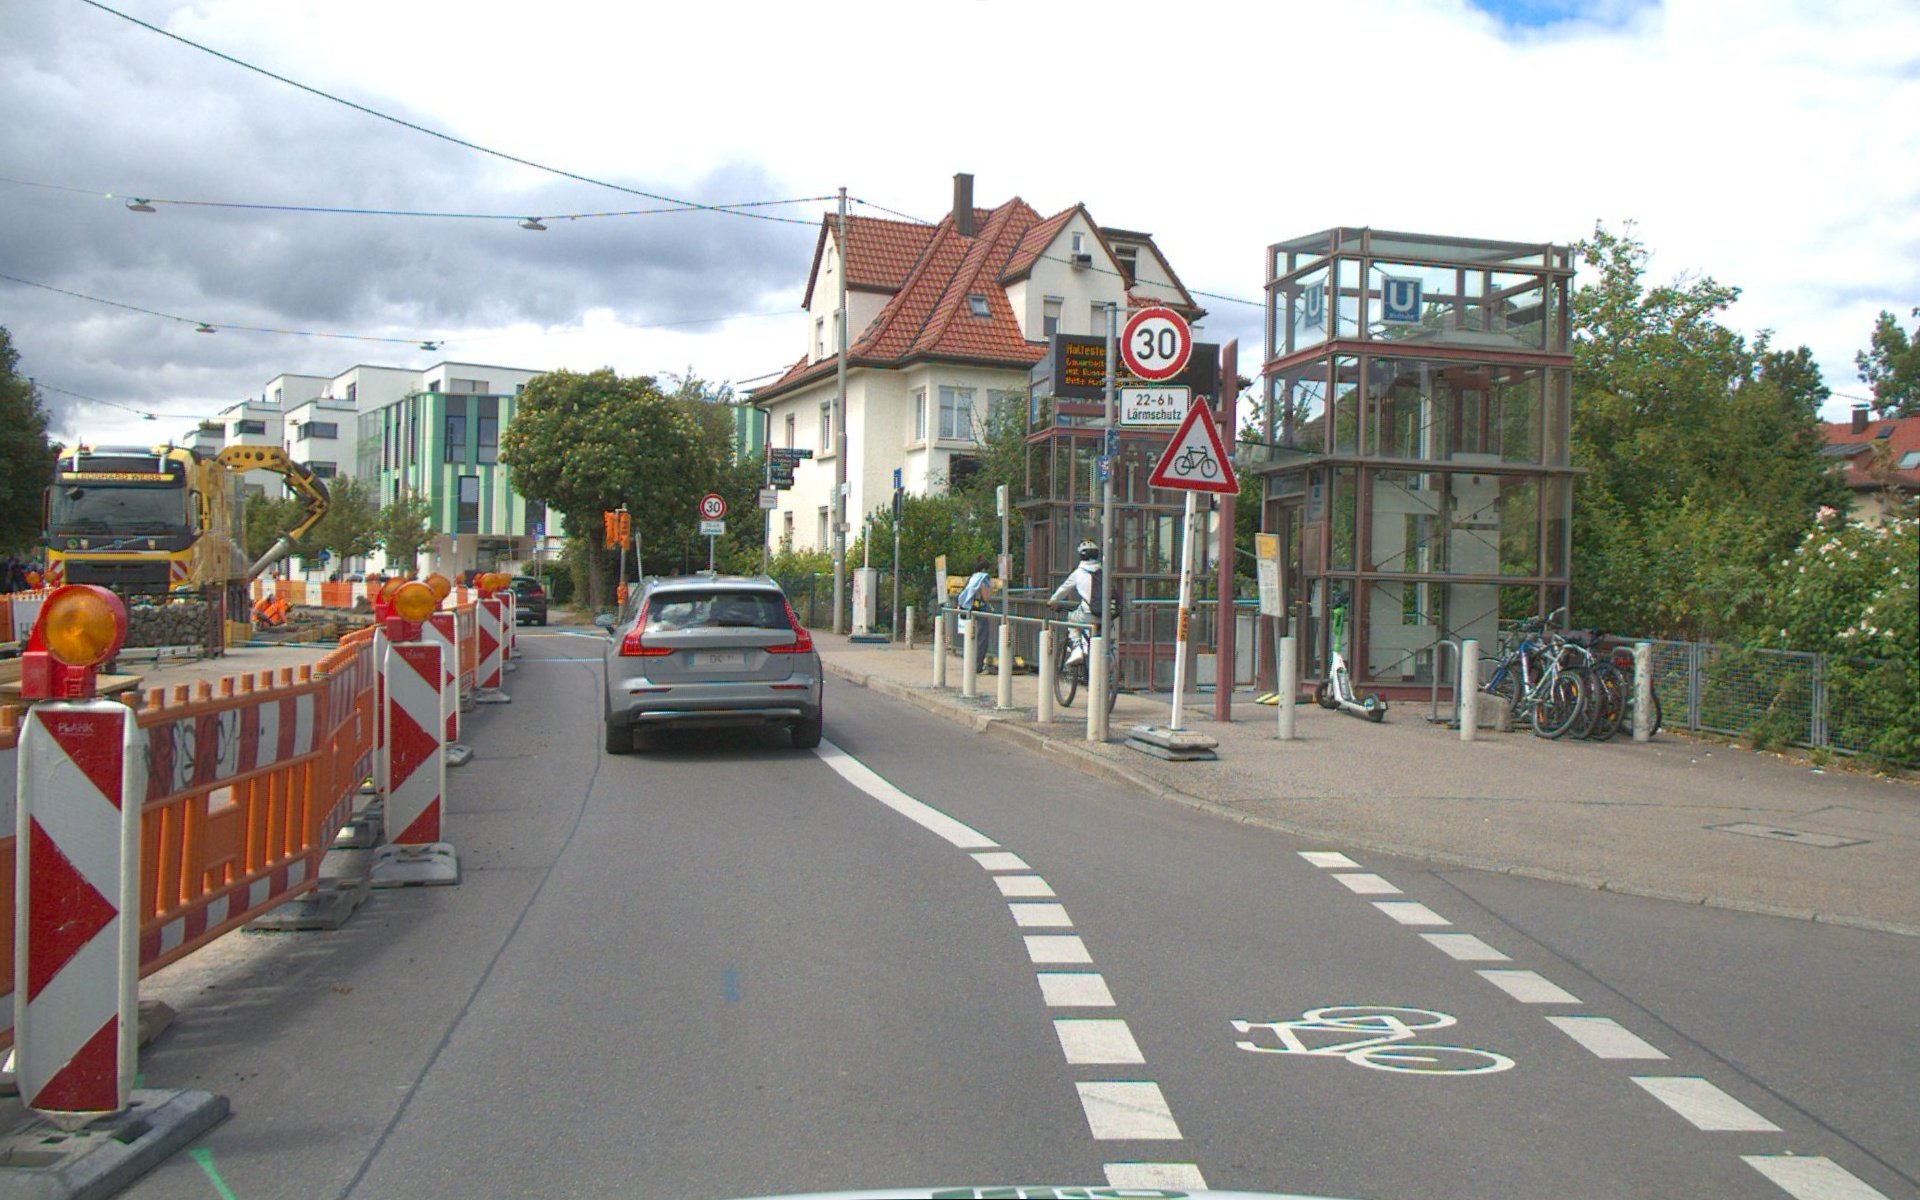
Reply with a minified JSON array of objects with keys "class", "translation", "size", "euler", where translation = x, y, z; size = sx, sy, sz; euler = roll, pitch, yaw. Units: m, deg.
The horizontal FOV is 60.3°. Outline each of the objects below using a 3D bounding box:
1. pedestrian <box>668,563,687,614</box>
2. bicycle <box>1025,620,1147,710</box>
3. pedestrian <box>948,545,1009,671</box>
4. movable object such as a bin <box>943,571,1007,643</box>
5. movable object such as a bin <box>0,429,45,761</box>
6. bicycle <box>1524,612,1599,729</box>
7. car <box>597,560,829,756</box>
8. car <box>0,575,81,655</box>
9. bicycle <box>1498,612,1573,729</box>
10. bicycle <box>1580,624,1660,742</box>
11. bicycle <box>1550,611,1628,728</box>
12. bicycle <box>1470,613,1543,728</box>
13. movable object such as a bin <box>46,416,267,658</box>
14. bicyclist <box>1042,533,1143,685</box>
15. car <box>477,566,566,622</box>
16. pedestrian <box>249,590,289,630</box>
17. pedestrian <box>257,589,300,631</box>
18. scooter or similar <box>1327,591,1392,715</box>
[{"class":"pedestrian","translation":[-8.677,-0.356,50.777],"size":[0.511,1.566,0.634],"euler":[0,1,-15]},{"class":"bicycle","translation":[1.230,0.629,16.557],"size":[0.624,0.766,2.055],"euler":[1,1,-13]},{"class":"pedestrian","translation":[0.247,0.107,22.125],"size":[0.588,1.610,0.400],"euler":[6,-3,-14]},{"class":"movable object such as a bin","translation":[0.310,0.143,35.631],"size":[1.244,1.496,1.003],"euler":[1,0,-7]},{"class":"movable object such as a bin","translation":[-8.564,-0.001,10.734],"size":[1.954,2.671,6.518],"euler":[0,1,-3]},{"class":"bicycle","translation":[5.616,0.641,15.483],"size":[0.211,1.031,1.168],"euler":[0,1,-3]},{"class":"car","translation":[-2.161,0.424,15.093],"size":[1.819,1.539,3.995],"euler":[0,1,-6]},{"class":"car","translation":[-19.894,0.265,34.191],"size":[1.821,1.539,4.429],"euler":[0,1,-11]},{"class":"bicycle","translation":[5.358,0.639,15.439],"size":[0.211,1.018,1.206],"euler":[0,1,-3]},{"class":"bicycle","translation":[6.169,0.758,15.500],"size":[0.211,1.026,1.189],"euler":[0,1,-3]},{"class":"bicycle","translation":[5.877,0.632,15.484],"size":[0.211,1.026,1.189],"euler":[0,1,-3]},{"class":"bicycle","translation":[5.083,0.634,15.426],"size":[0.211,1.006,1.203],"euler":[0,1,-3]},{"class":"movable object such as a bin","translation":[-16.600,-1.200,34.958],"size":[2.550,4.295,11.067],"euler":[0,1,-17]},{"class":"bicyclist","translation":[1.295,0.073,16.364],"size":[0.645,1.440,1.175],"euler":[1,1,-13]},{"class":"car","translation":[-12.859,-0.188,48.310],"size":[1.831,1.539,3.969],"euler":[2,0,-25]},{"class":"pedestrian","translation":[-17.443,0.249,41.750],"size":[0.627,1.008,0.794],"euler":[0,1,6]},{"class":"pedestrian","translation":[-16.878,0.245,40.977],"size":[0.775,1.008,0.811],"euler":[0,1,-4]},{"class":"scooter or similar","translation":[3.929,0.508,16.317],"size":[0.212,1.131,0.944],"euler":[0,4,-12]}]
